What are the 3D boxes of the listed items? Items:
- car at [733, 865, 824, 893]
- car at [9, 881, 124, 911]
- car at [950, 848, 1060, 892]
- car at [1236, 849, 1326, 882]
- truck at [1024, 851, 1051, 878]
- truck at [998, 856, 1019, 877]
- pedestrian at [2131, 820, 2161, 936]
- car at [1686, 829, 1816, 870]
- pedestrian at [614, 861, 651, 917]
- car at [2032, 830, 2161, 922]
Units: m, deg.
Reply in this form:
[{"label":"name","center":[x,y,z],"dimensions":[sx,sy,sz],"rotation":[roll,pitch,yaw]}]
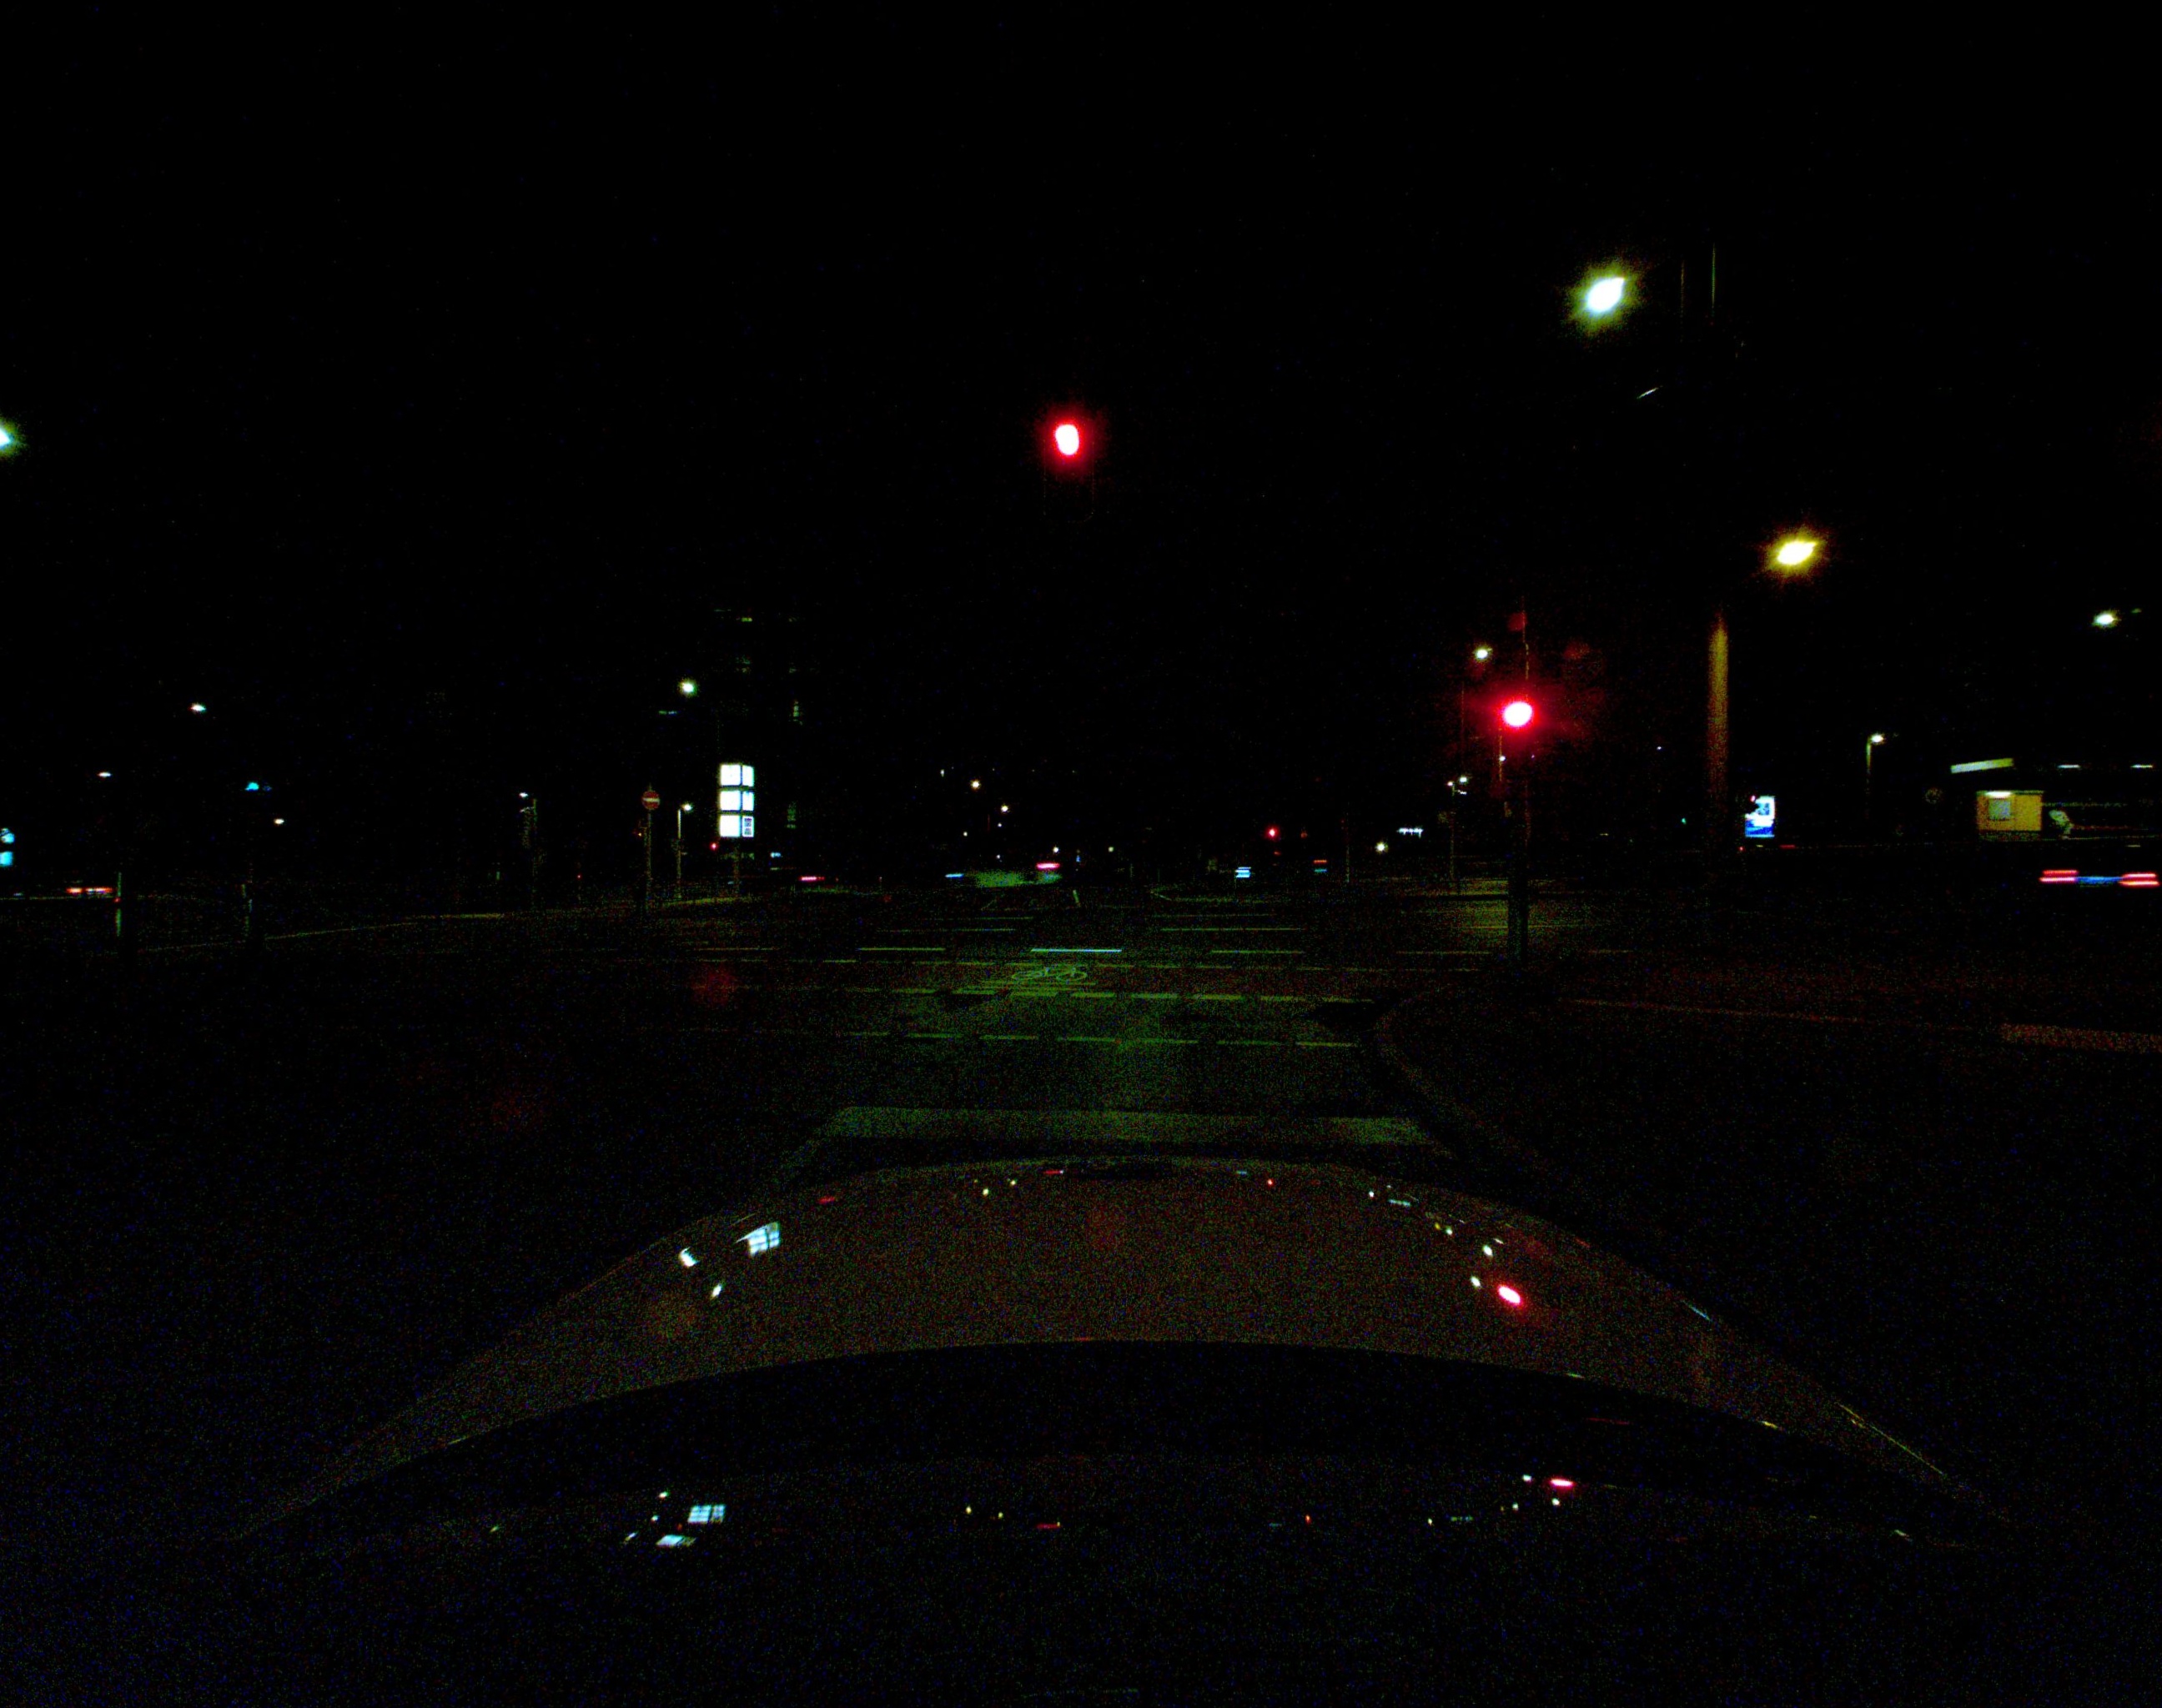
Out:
[{"label":"car","center":[-16.689,1.368,45.029],"dimensions":[4.306,1.388,1.845],"rotation":[-2,-1,5]},{"label":"car","center":[-57.983,2.391,46.605],"dimensions":[4.377,1.644,1.944],"rotation":[0,-1,5]},{"label":"car","center":[-3.478,0.737,37.766],"dimensions":[4.757,1.844,1.845],"rotation":[-2,-2,5]},{"label":"car","center":[9.727,0.547,39.871],"dimensions":[4.041,1.424,1.846],"rotation":[-1,1,5]},{"label":"truck","center":[-7.997,1.936,149.252],"dimensions":[3.366,4.843,7.865],"rotation":[0,-1,-14]},{"label":"truck","center":[-10.928,1.845,122.246],"dimensions":[2.419,3.089,6.412],"rotation":[0,-1,-11]},{"label":"pedestrian","center":[15.868,0.311,11.575],"dimensions":[0.870,1.656,0.843],"rotation":[-7,-5,42]},{"label":"car","center":[28.887,-0.207,35.200],"dimensions":[3.965,1.585,1.808],"rotation":[-2,0,7]},{"label":"pedestrian","center":[-14.090,1.085,25.589],"dimensions":[0.671,1.722,0.710],"rotation":[-1,-2,24]},{"label":"car","center":[20.131,0.328,14.721],"dimensions":[3.861,1.473,1.660],"rotation":[-2,2,2]}]
